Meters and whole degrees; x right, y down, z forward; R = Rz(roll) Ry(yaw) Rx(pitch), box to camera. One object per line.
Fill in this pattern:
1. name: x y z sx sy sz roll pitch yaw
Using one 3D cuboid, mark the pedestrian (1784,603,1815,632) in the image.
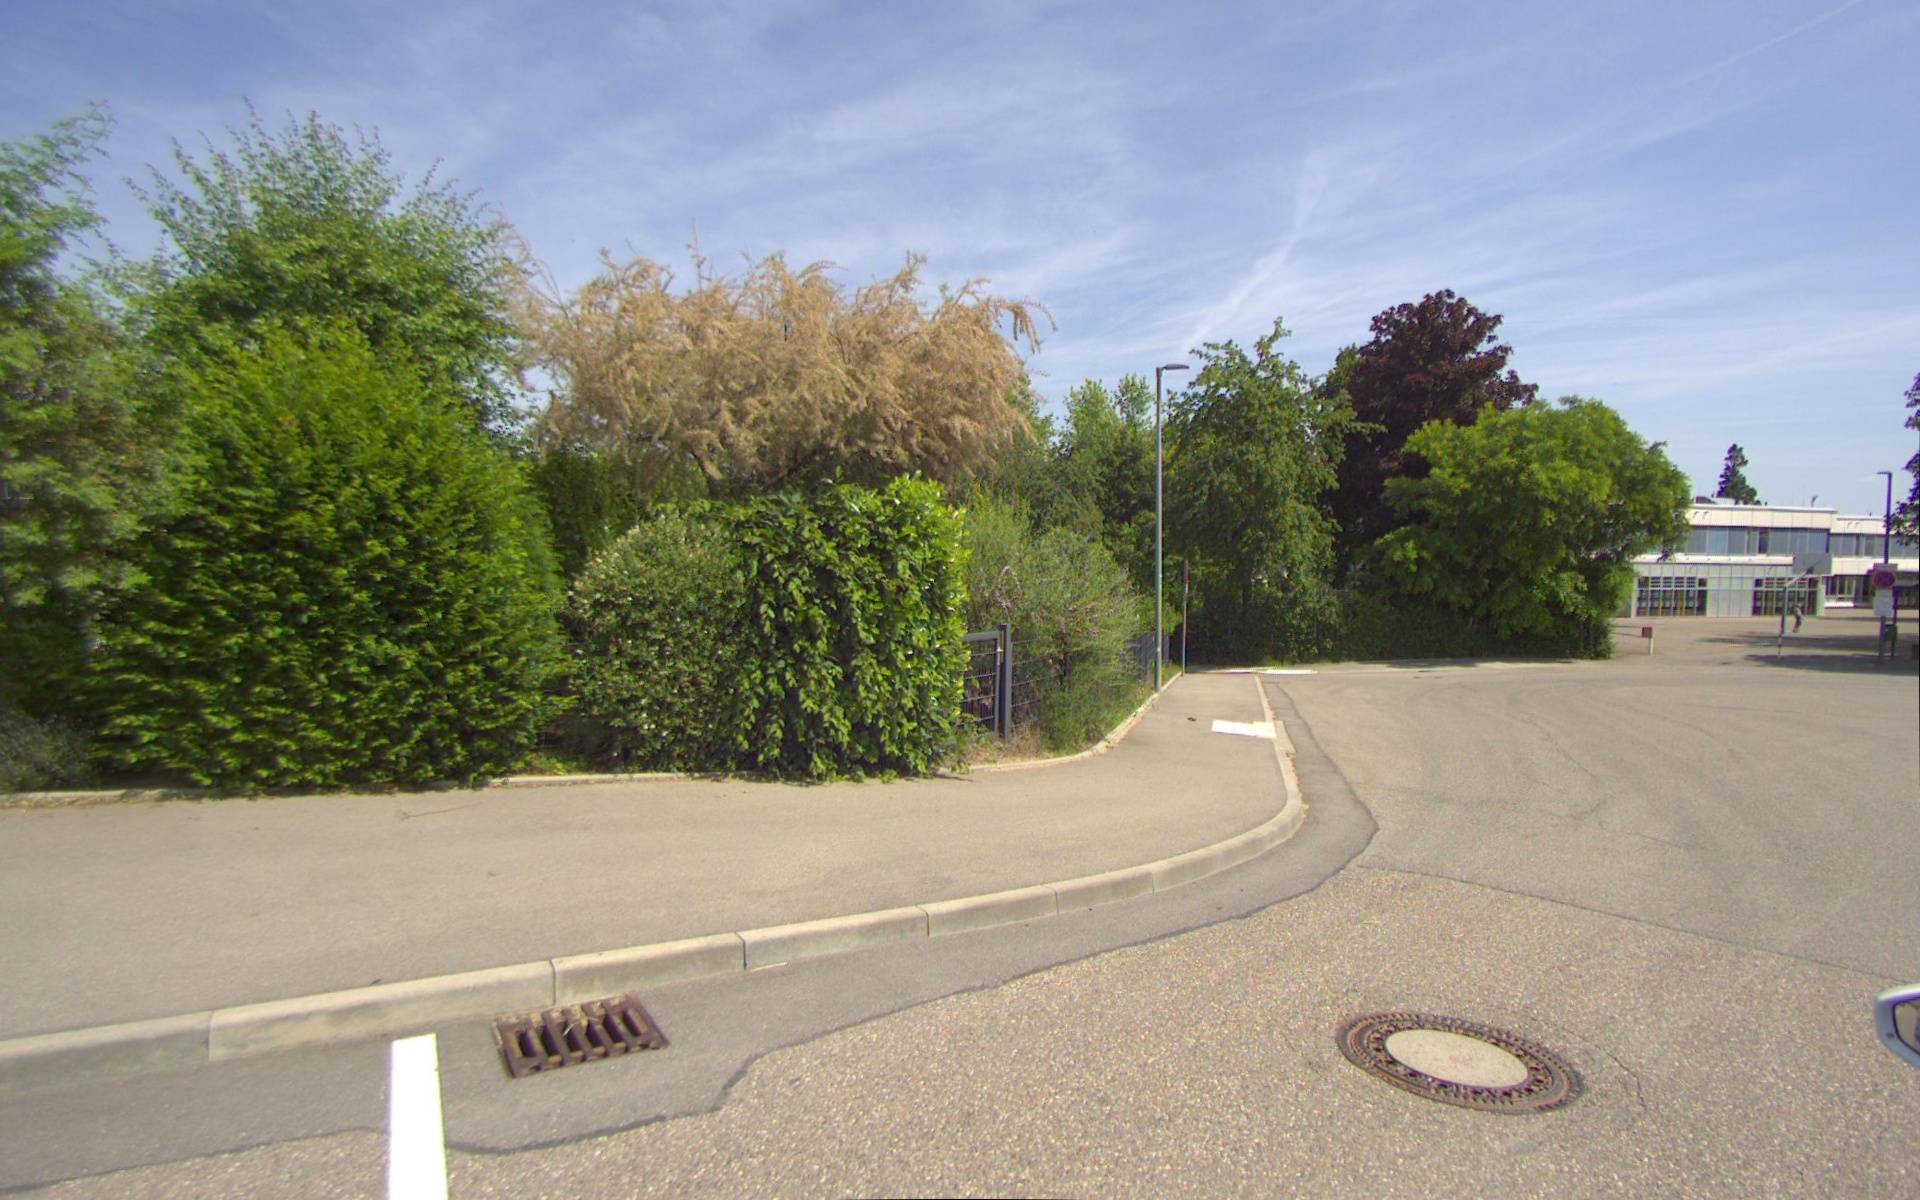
1. pedestrian: 42.170 0.872 50.470 1.052 1.442 0.916 2 2 36
